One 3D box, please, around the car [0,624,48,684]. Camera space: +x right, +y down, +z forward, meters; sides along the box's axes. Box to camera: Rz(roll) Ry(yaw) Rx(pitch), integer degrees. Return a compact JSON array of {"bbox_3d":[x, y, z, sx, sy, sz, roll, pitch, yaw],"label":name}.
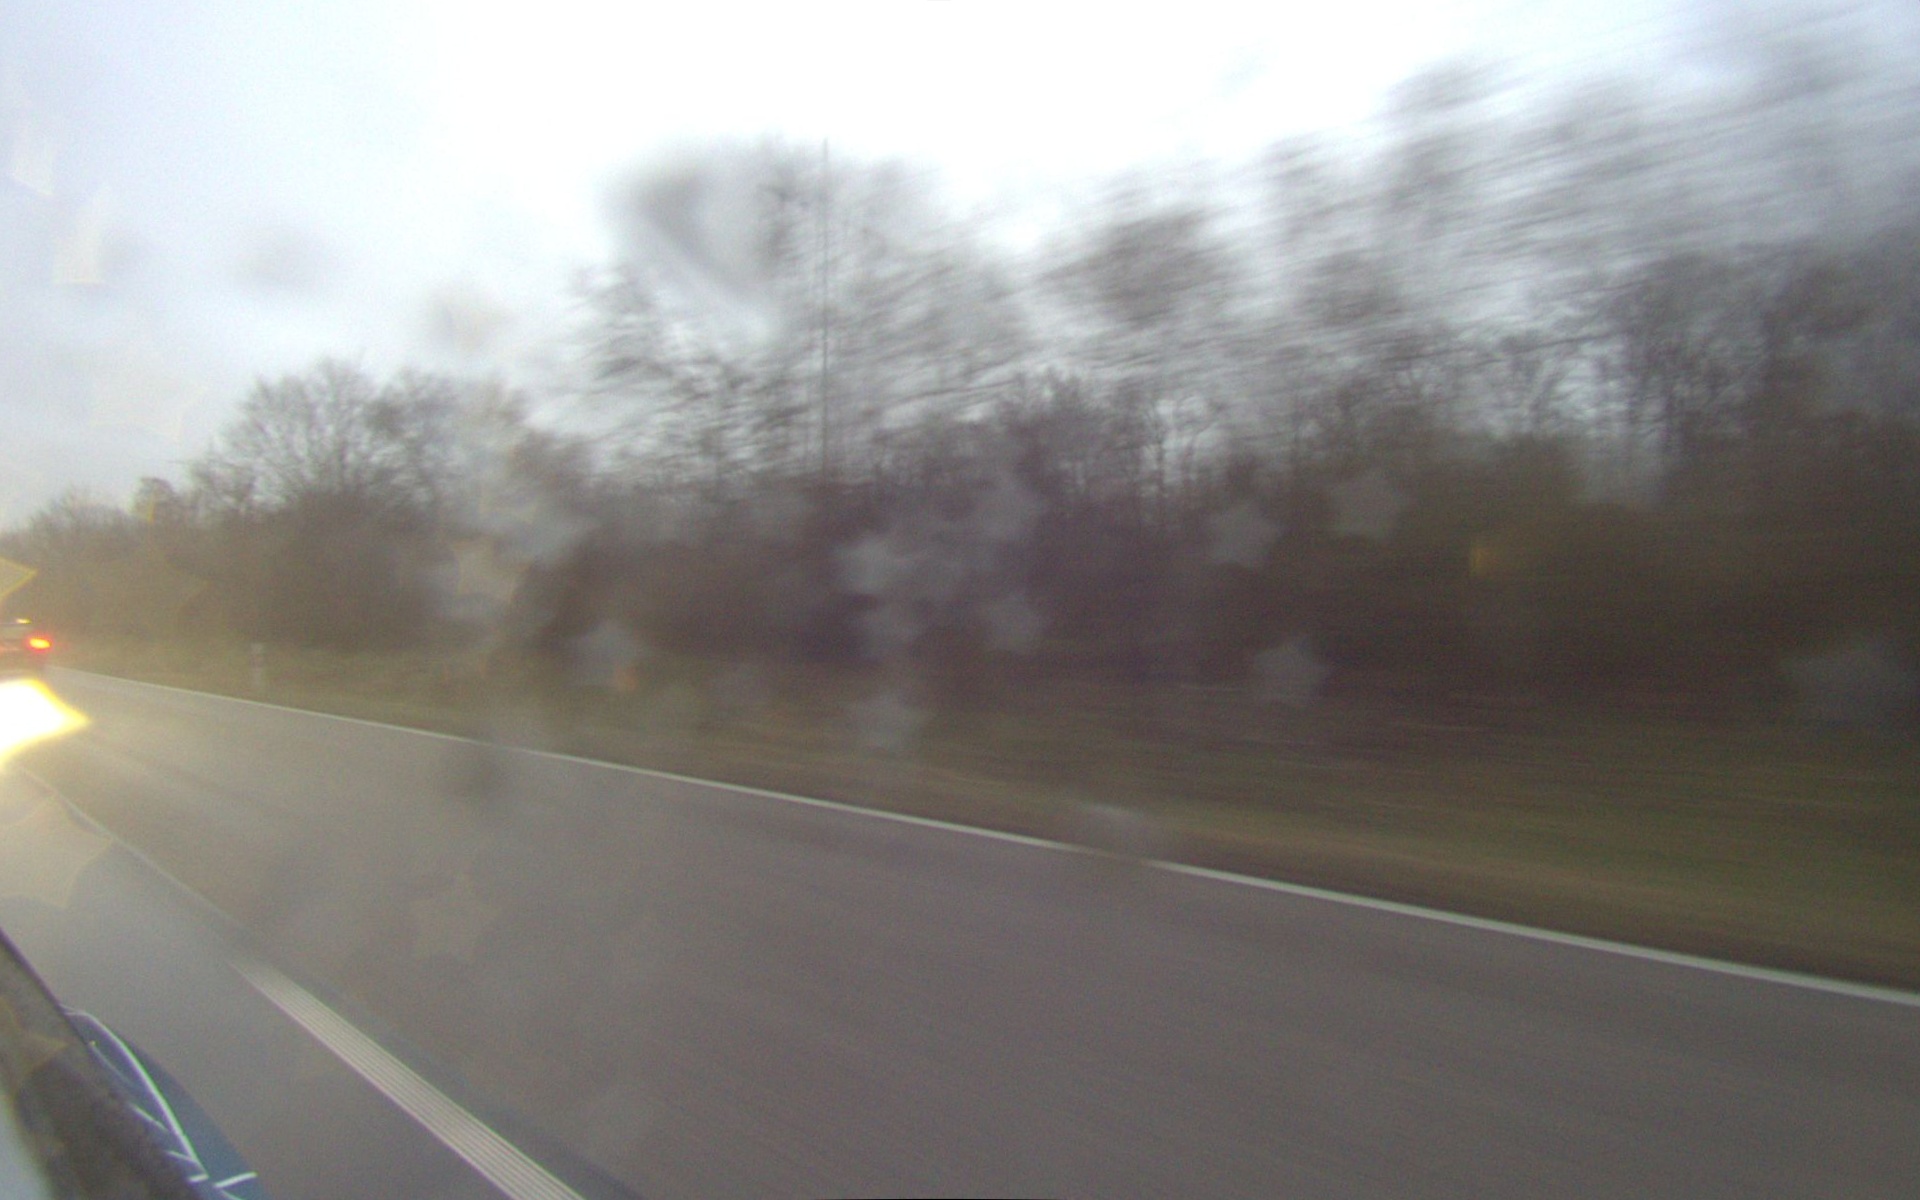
[{"bbox_3d":[-26.495,1.433,27.646,5.661,1.507,1.681,-2,-1,41],"label":"car"}]
